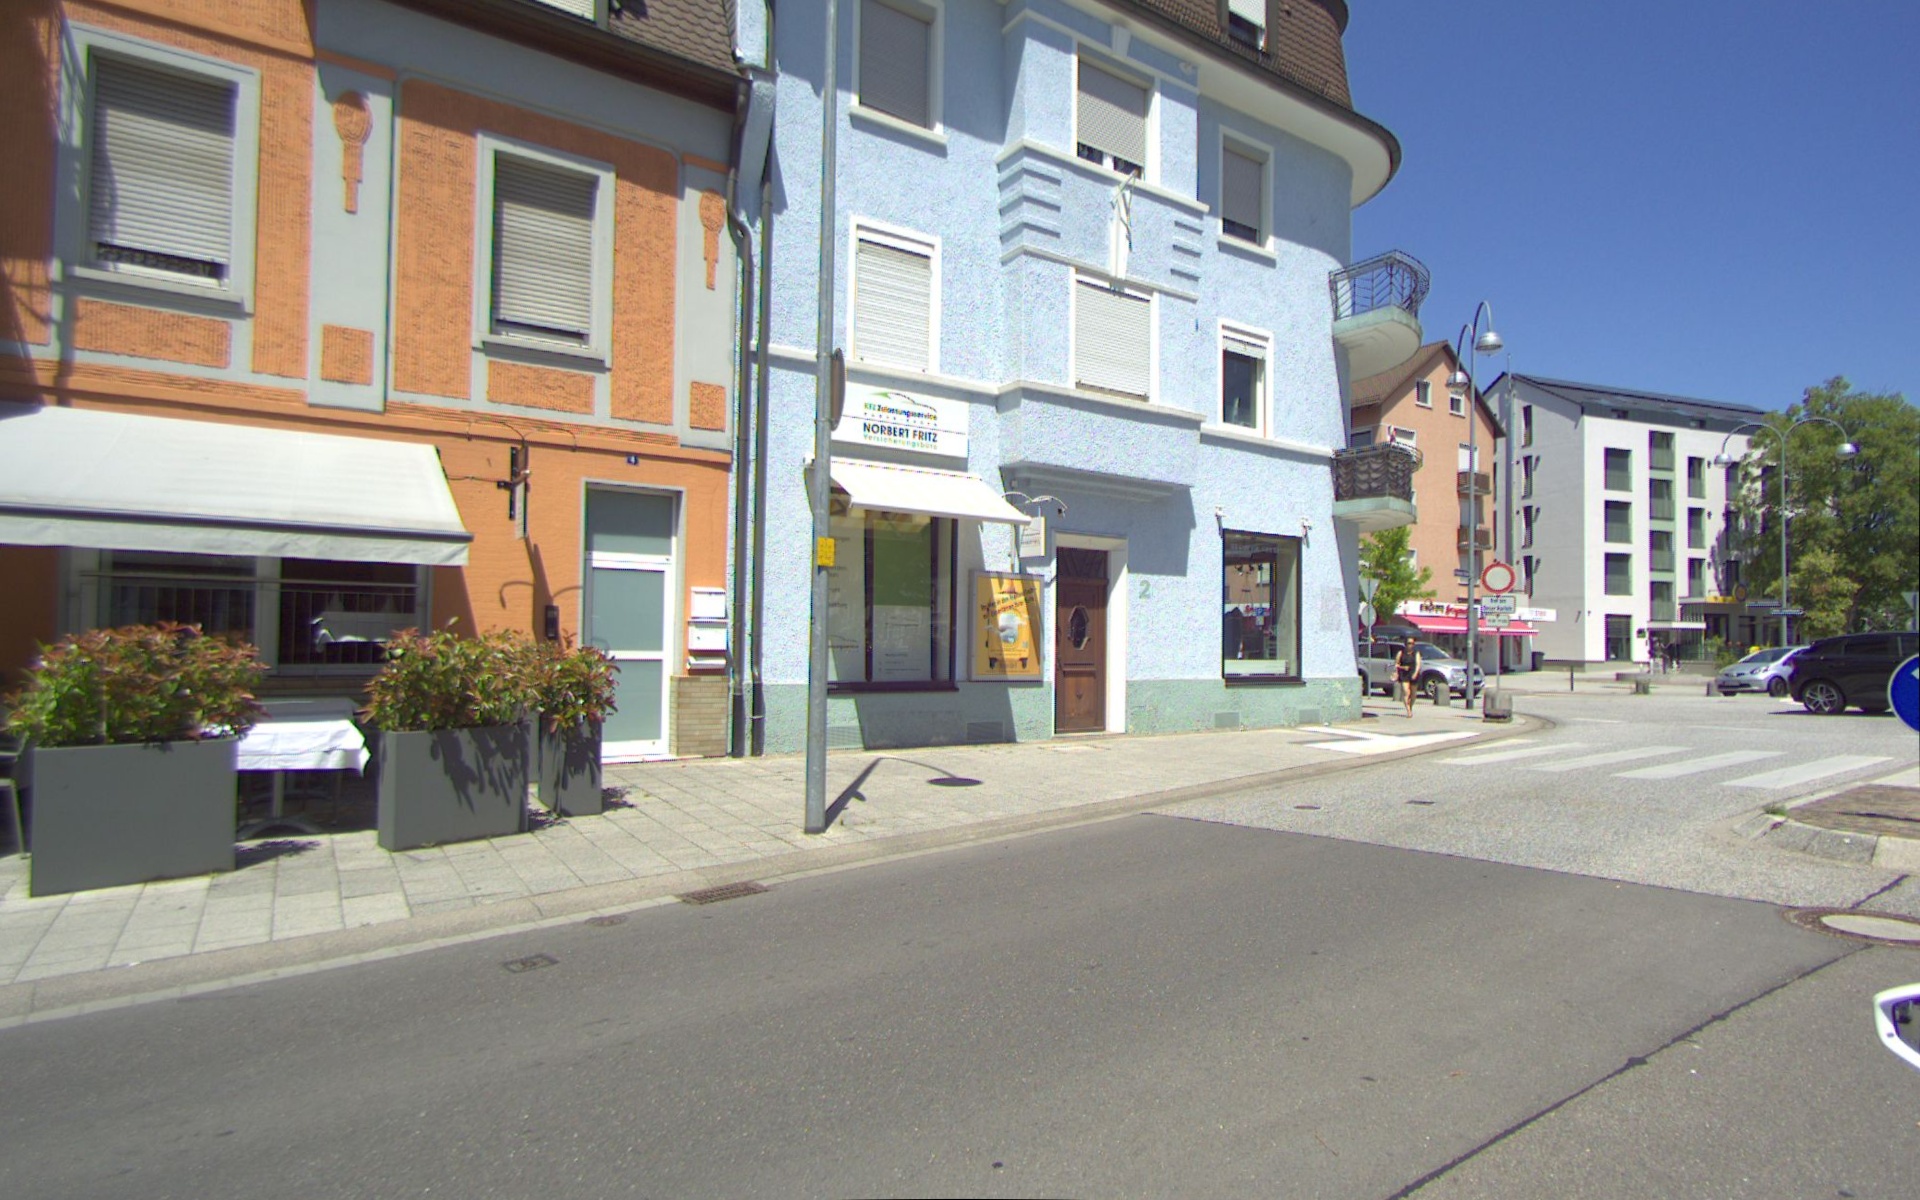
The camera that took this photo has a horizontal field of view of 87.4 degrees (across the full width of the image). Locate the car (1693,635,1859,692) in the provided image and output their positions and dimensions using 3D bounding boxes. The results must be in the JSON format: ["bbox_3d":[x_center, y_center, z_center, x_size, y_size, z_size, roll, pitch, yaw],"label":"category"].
[{"bbox_3d":[23.026,1.788,28.408,3.403,1.469,1.580,-1,-3,-3],"label":"car"}]

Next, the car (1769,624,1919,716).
[{"bbox_3d":[17.189,1.204,17.664,1.785,1.567,4.242,0,-4,-22],"label":"car"}]

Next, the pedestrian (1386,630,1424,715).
[{"bbox_3d":[8.542,1.392,19.301,0.535,1.606,0.515,-1,-3,10],"label":"pedestrian"}]

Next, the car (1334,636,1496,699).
[{"bbox_3d":[13.626,1.993,30.313,1.816,1.710,4.169,0,-3,-30],"label":"car"}]
